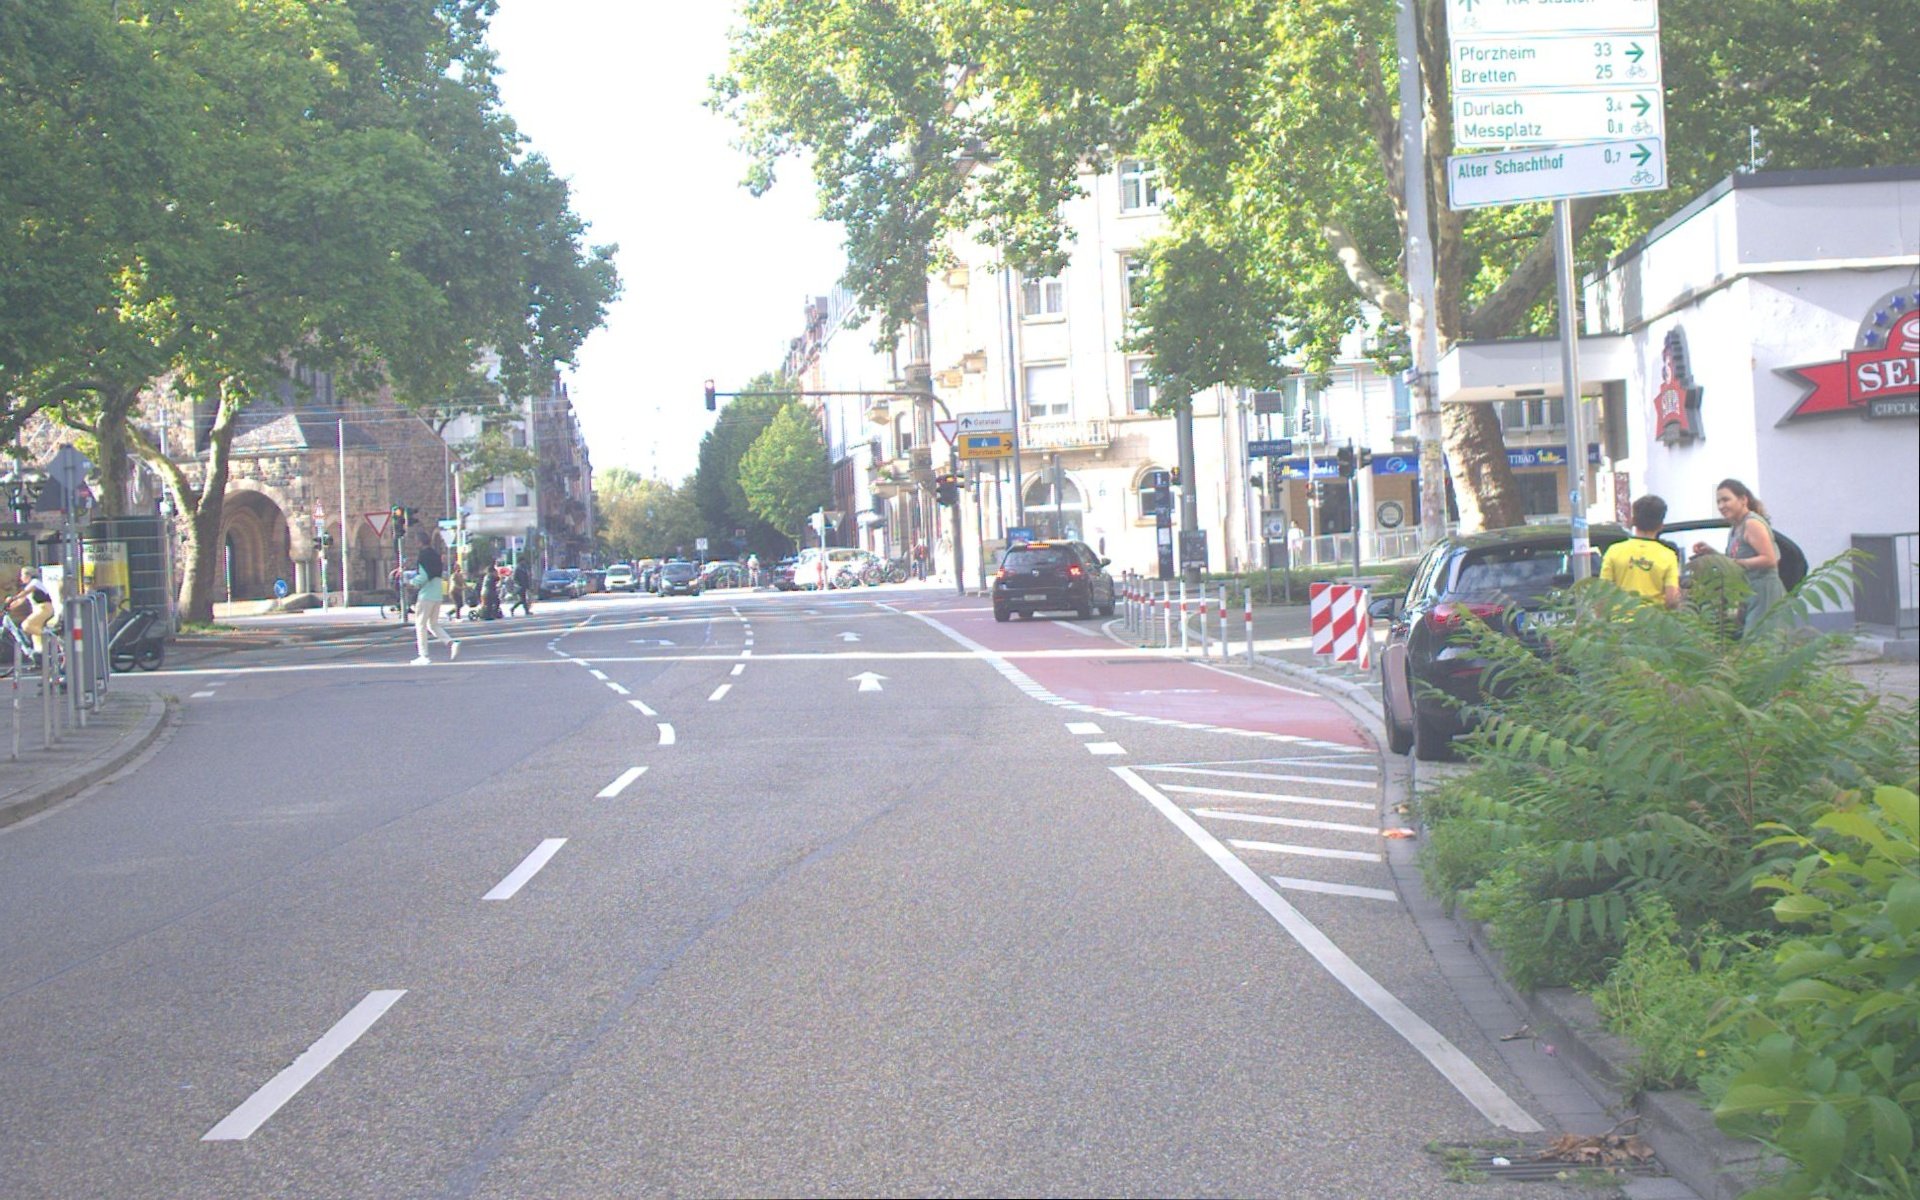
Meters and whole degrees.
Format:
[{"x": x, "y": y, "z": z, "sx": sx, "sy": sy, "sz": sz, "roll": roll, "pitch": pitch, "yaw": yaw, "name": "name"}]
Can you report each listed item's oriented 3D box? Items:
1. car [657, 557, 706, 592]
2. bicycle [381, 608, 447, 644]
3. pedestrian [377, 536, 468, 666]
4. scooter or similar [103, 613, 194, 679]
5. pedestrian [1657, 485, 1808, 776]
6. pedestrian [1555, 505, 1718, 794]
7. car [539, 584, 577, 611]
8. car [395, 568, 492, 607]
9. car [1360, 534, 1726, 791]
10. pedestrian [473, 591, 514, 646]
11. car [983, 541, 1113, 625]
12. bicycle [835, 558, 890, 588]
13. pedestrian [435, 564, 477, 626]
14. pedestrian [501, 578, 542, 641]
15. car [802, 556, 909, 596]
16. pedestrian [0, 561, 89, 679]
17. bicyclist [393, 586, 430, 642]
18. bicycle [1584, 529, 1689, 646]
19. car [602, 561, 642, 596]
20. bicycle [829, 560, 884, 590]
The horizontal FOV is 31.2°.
[{"x": -11.647, "y": -1.082, "z": 143.797, "sx": 1.949, "sy": 1.367, "sz": 4.001, "roll": -3, "pitch": 1, "yaw": -5, "name": "car"}, {"x": -15.794, "y": 0.740, "z": 99.423, "sx": 1.832, "sy": 0.952, "sz": 0.572, "roll": -2, "pitch": 1, "yaw": 22, "name": "bicycle"}, {"x": -7.410, "y": 0.013, "z": 47.385, "sx": 1.074, "sy": 1.747, "sz": 0.919, "roll": -2, "pitch": 1, "yaw": -17, "name": "pedestrian"}, {"x": -11.996, "y": 0.682, "z": 50.832, "sx": 1.011, "sy": 0.919, "sz": 0.808, "roll": -3, "pitch": 1, "yaw": -43, "name": "scooter or similar"}, {"x": 4.490, "y": 0.169, "z": 20.022, "sx": 0.652, "sy": 1.639, "sz": 0.743, "roll": -2, "pitch": 1, "yaw": -1, "name": "pedestrian"}, {"x": 3.749, "y": 0.265, "z": 19.092, "sx": 0.652, "sy": 1.533, "sz": 0.743, "roll": -4, "pitch": 1, "yaw": -1, "name": "pedestrian"}, {"x": -19.778, "y": -0.112, "z": 169.270, "sx": 1.550, "sy": 1.225, "sz": 3.588, "roll": -2, "pitch": 1, "yaw": -2, "name": "car"}, {"x": -23.958, "y": -0.576, "z": 159.543, "sx": 3.989, "sy": 1.590, "sz": 1.868, "roll": -4, "pitch": 1, "yaw": -43, "name": "car"}, {"x": 3.683, "y": 0.332, "z": 22.398, "sx": 1.761, "sy": 1.407, "sz": 4.233, "roll": -4, "pitch": 1, "yaw": 3, "name": "car"}, {"x": -12.522, "y": 0.486, "z": 92.344, "sx": 0.782, "sy": 1.427, "sz": 0.730, "roll": -2, "pitch": 1, "yaw": 21, "name": "pedestrian"}, {"x": 1.631, "y": -0.328, "z": 62.559, "sx": 1.752, "sy": 1.409, "sz": 3.999, "roll": -2, "pitch": 1, "yaw": 10, "name": "car"}, {"x": -3.814, "y": -1.046, "z": 134.265, "sx": 2.022, "sy": 1.078, "sz": 0.620, "roll": -3, "pitch": 1, "yaw": -14, "name": "bicycle"}, {"x": -13.792, "y": -0.131, "z": 94.021, "sx": 0.815, "sy": 1.623, "sz": 0.604, "roll": -4, "pitch": 1, "yaw": 20, "name": "pedestrian"}, {"x": -12.022, "y": 0.259, "z": 94.269, "sx": 0.781, "sy": 1.656, "sz": 0.778, "roll": -2, "pitch": 1, "yaw": 19, "name": "pedestrian"}, {"x": -4.167, "y": -0.958, "z": 136.656, "sx": 3.986, "sy": 1.415, "sz": 2.000, "roll": -3, "pitch": 1, "yaw": -8, "name": "car"}, {"x": -13.387, "y": 0.289, "z": 49.981, "sx": 1.073, "sy": 1.648, "sz": 0.815, "roll": -3, "pitch": 1, "yaw": -41, "name": "pedestrian"}, {"x": -15.856, "y": 0.401, "z": 99.435, "sx": 0.779, "sy": 1.574, "sz": 0.625, "roll": -2, "pitch": 1, "yaw": 21, "name": "bicyclist"}, {"x": 7.417, "y": -0.154, "z": 37.760, "sx": 0.769, "sy": 1.202, "sz": 1.815, "roll": -4, "pitch": 1, "yaw": 2, "name": "bicycle"}, {"x": -20.536, "y": -1.323, "z": 208.943, "sx": 1.993, "sy": 2.007, "sz": 4.000, "roll": -2, "pitch": 1, "yaw": -1, "name": "car"}, {"x": -4.042, "y": -0.965, "z": 134.846, "sx": 2.022, "sy": 1.078, "sz": 0.631, "roll": -3, "pitch": 1, "yaw": -14, "name": "bicycle"}]
